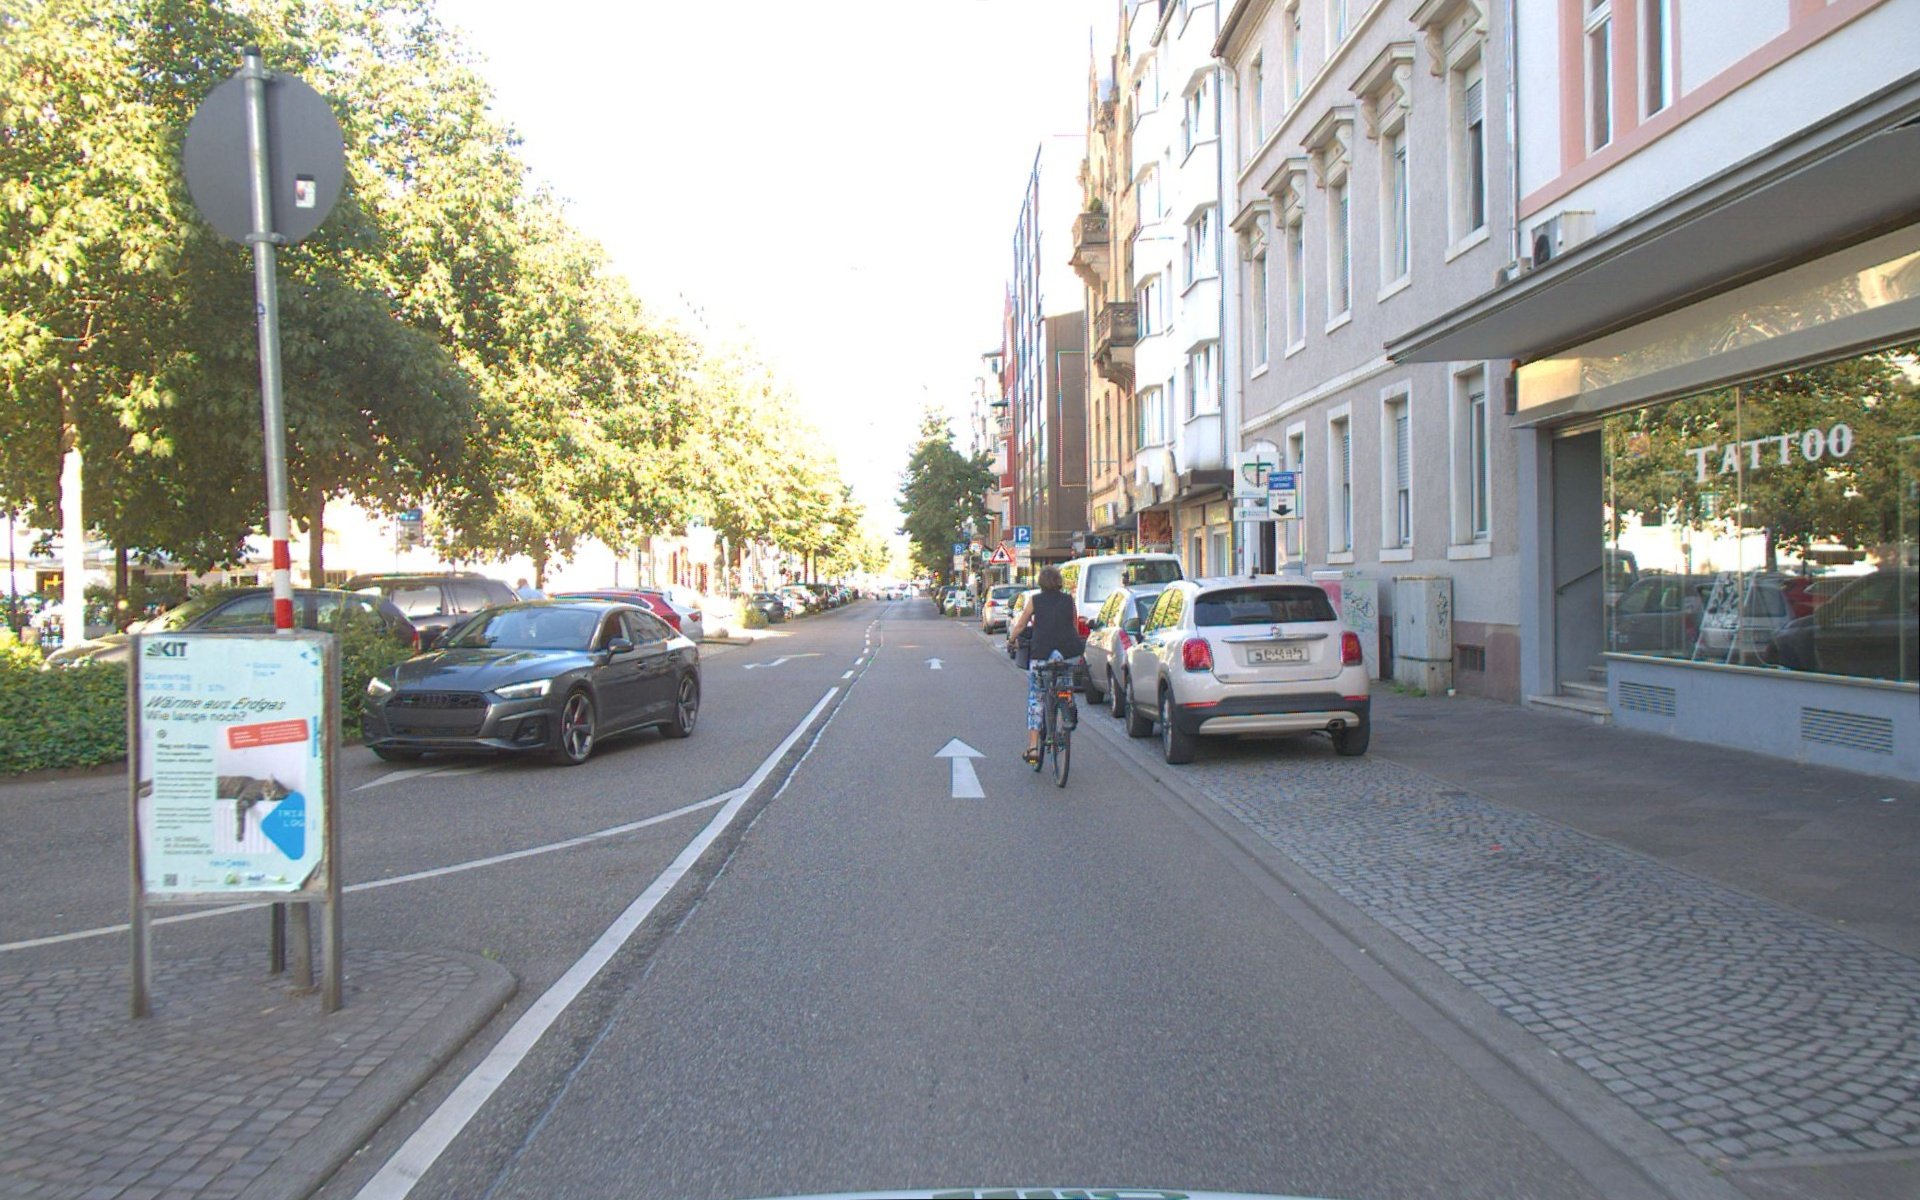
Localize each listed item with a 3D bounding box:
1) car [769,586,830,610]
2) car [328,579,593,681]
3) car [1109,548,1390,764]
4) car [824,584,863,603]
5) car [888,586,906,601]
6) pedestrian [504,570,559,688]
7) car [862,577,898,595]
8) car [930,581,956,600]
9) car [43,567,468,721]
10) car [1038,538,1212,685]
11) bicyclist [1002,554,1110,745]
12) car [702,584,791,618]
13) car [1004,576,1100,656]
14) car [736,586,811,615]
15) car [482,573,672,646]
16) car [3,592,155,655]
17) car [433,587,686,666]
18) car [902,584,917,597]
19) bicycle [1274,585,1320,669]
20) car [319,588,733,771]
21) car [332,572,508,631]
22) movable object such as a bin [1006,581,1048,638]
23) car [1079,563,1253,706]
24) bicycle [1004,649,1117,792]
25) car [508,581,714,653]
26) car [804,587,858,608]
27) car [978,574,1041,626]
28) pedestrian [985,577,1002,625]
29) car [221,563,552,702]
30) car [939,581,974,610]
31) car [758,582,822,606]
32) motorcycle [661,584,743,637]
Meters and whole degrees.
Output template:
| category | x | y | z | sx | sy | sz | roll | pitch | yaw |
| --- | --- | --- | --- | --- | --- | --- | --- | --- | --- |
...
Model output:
| category | x | y | z | sx | sy | sz | roll | pitch | yaw |
| --- | --- | --- | --- | --- | --- | --- | --- | --- | --- |
| car | -10.700 | -0.131 | 110.704 | 3.906 | 1.534 | 1.999 | 0 | 0 | -2 |
| car | -8.196 | 0.489 | 27.425 | 3.909 | 1.626 | 1.748 | 0 | -1 | -5 |
| car | 2.605 | 0.477 | 16.061 | 1.710 | 1.769 | 4.958 | 0 | 0 | -2 |
| car | -12.642 | -0.714 | 179.356 | 3.902 | 2.049 | 2.002 | 0 | 0 | 8 |
| car | -6.886 | -0.674 | 181.469 | 1.953 | 1.583 | 3.999 | 0 | 0 | -1 |
| pedestrian | -6.171 | 0.421 | 23.863 | 0.686 | 1.678 | 0.645 | 0 | -1 | -8 |
| car | -9.260 | -1.639 | 192.151 | 3.902 | 2.049 | 2.002 | 0 | 0 | 8 |
| car | -1.354 | -0.730 | 130.159 | 1.953 | 1.478 | 3.999 | 0 | 0 | -2 |
| car | -7.612 | 0.444 | 17.994 | 3.956 | 1.495 | 1.851 | 1 | -1 | -37 |
| car | 2.458 | 0.123 | 25.931 | 1.954 | 2.039 | 5.114 | -1 | 1 | -3 |
| bicyclist | 0.758 | 0.390 | 13.392 | 0.770 | 1.478 | 1.095 | 0 | -1 | -2 |
| car | -9.969 | 0.038 | 77.313 | 3.906 | 1.534 | 2.000 | 0 | 0 | -1 |
| car | 1.929 | 0.339 | 35.631 | 1.684 | 1.541 | 3.581 | -3 | 0 | -2 |
| car | -10.148 | 0.052 | 90.152 | 3.906 | 1.534 | 2.000 | 0 | 0 | -1 |
| car | -8.899 | 0.240 | 38.556 | 3.951 | 1.614 | 1.810 | 1 | -1 | -34 |
| car | -26.326 | 0.701 | 49.585 | 3.857 | 1.802 | 1.966 | 1 | -1 | -25 |
| car | -8.044 | 0.526 | 33.283 | 4.767 | 1.514 | 1.753 | 1 | -1 | -22 |
| car | -6.246 | -1.157 | 206.100 | 1.832 | 1.583 | 3.999 | 0 | 0 | -1 |
| bicycle | 5.105 | 0.401 | 24.973 | 0.473 | 1.206 | 1.721 | -3 | -1 | 16 |
| car | -3.817 | 0.646 | 15.607 | 1.870 | 1.441 | 4.814 | 0 | 0 | 11 |
| car | -17.664 | 0.070 | 54.193 | 5.204 | 1.831 | 2.143 | 1 | -1 | -29 |
| movable object such as a bin | 1.876 | 0.262 | 46.138 | 1.051 | 1.482 | 1.493 | -3 | 1 | 3 |
| car | 2.522 | 0.416 | 21.033 | 1.665 | 1.632 | 3.756 | -1 | 0 | -1 |
| bicycle | 0.764 | 0.911 | 13.303 | 0.639 | 0.975 | 2.697 | 0 | 0 | -2 |
| car | -7.679 | 0.389 | 36.433 | 4.171 | 1.503 | 1.721 | 1 | -1 | -27 |
| car | -10.009 | -0.188 | 128.244 | 3.904 | 1.534 | 2.000 | 1 | 0 | 2 |
| car | 1.652 | 0.024 | 56.719 | 1.861 | 1.704 | 4.823 | 0 | 0 | -2 |
| pedestrian | 1.237 | 0.036 | 61.426 | 0.601 | 1.765 | 0.634 | 0 | -1 | -1 |
| car | -7.450 | 0.403 | 21.769 | 3.925 | 1.697 | 1.990 | 0 | 0 | -18 |
| car | -0.183 | -0.263 | 97.886 | 1.952 | 1.646 | 4.010 | 1 | 0 | 1 |
| car | -10.875 | -0.365 | 106.076 | 3.906 | 1.534 | 1.894 | 0 | 0 | -1 |
| motorcycle | -8.425 | 0.348 | 53.961 | 2.420 | 1.632 | 1.000 | -2 | 0 | 17 |
